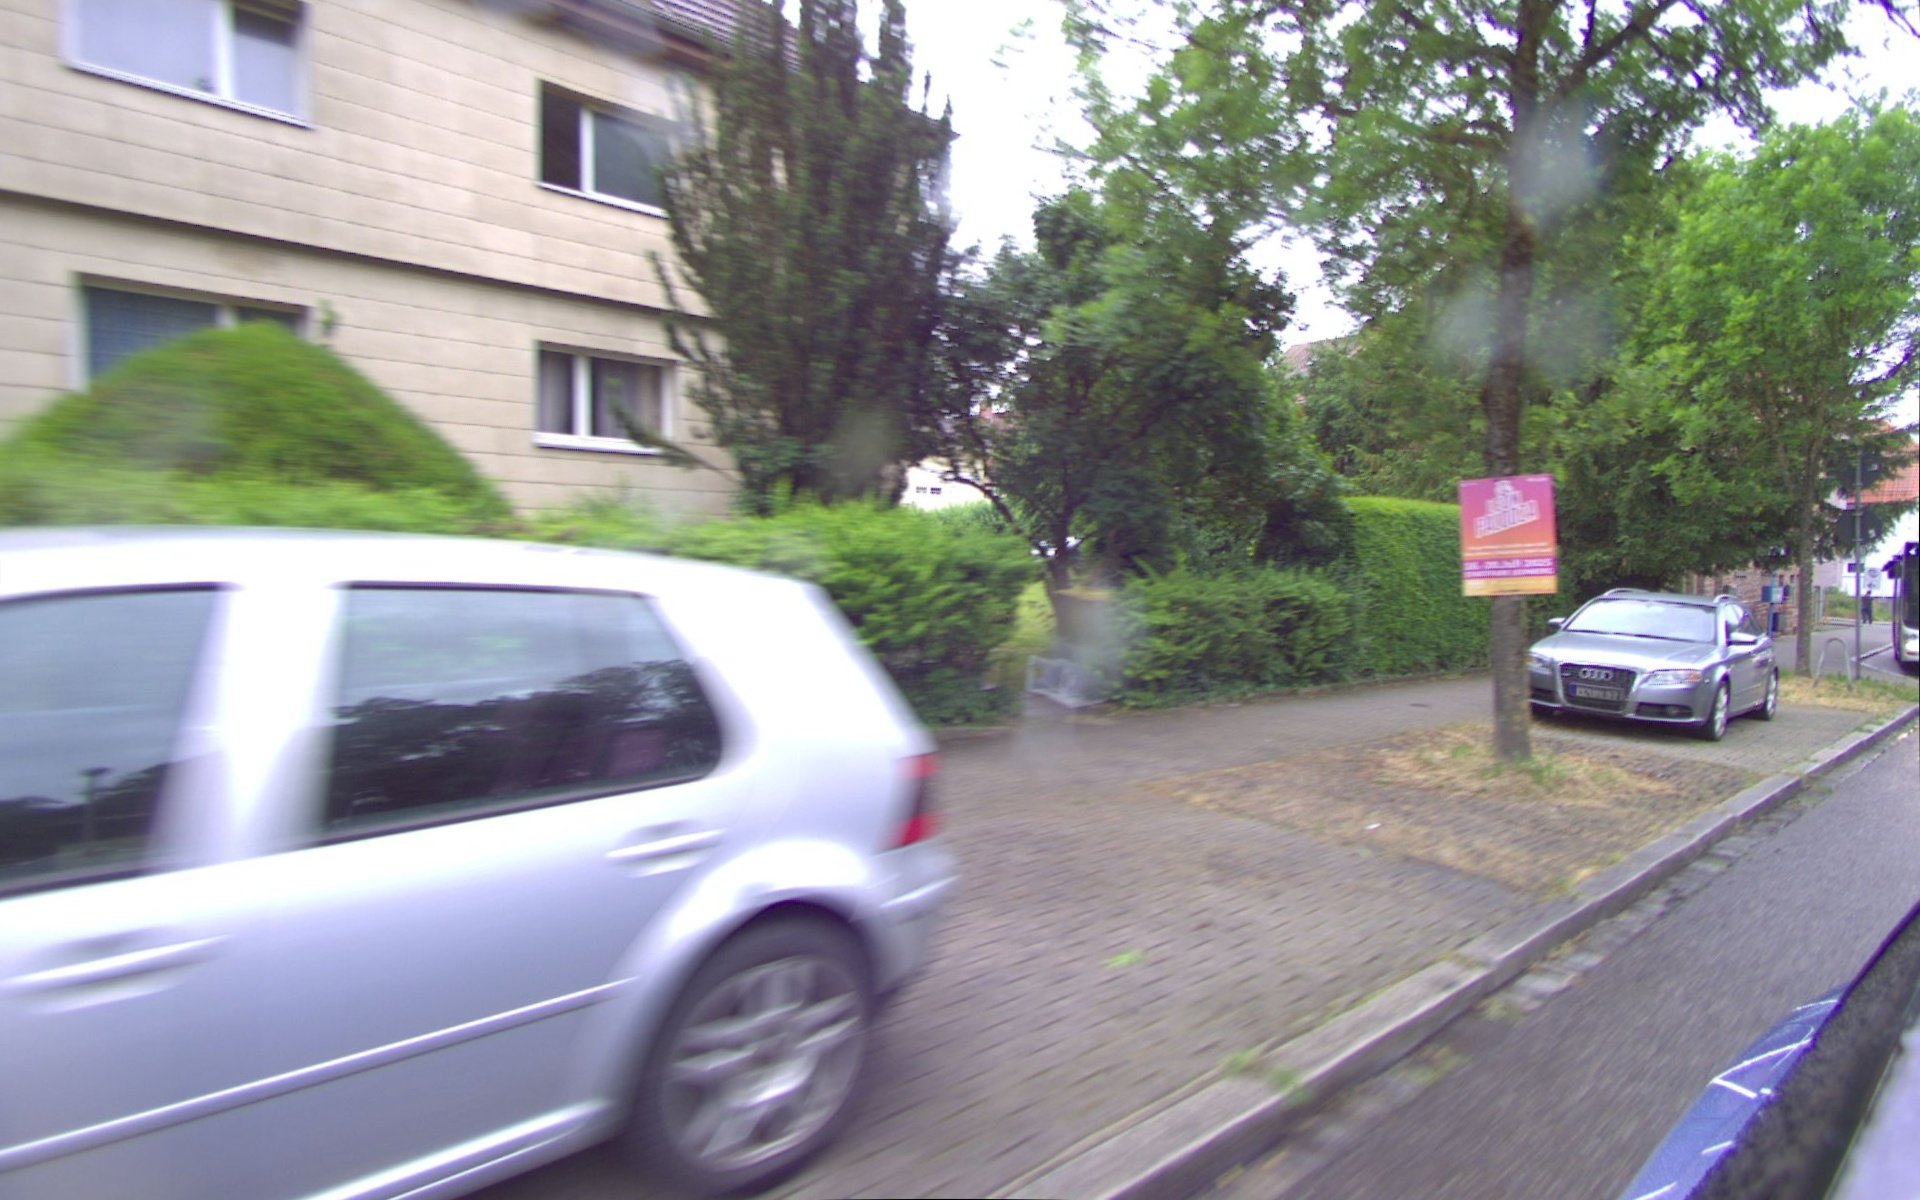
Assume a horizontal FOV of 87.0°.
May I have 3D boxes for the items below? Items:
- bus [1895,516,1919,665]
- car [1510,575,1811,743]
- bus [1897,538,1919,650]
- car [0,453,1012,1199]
[{"bbox_3d":[23.243,-0.154,23.017,2.555,2.996,9.308,2,1,41],"label":"bus"},{"bbox_3d":[7.864,0.526,11.189,4.422,1.406,1.692,0,4,-42],"label":"car"},{"bbox_3d":[29.333,-0.120,29.098,8.407,2.996,2.560,0,1,-41],"label":"bus"},{"bbox_3d":[-1.922,0.462,1.931,3.950,1.454,1.605,2,3,-40],"label":"car"}]
